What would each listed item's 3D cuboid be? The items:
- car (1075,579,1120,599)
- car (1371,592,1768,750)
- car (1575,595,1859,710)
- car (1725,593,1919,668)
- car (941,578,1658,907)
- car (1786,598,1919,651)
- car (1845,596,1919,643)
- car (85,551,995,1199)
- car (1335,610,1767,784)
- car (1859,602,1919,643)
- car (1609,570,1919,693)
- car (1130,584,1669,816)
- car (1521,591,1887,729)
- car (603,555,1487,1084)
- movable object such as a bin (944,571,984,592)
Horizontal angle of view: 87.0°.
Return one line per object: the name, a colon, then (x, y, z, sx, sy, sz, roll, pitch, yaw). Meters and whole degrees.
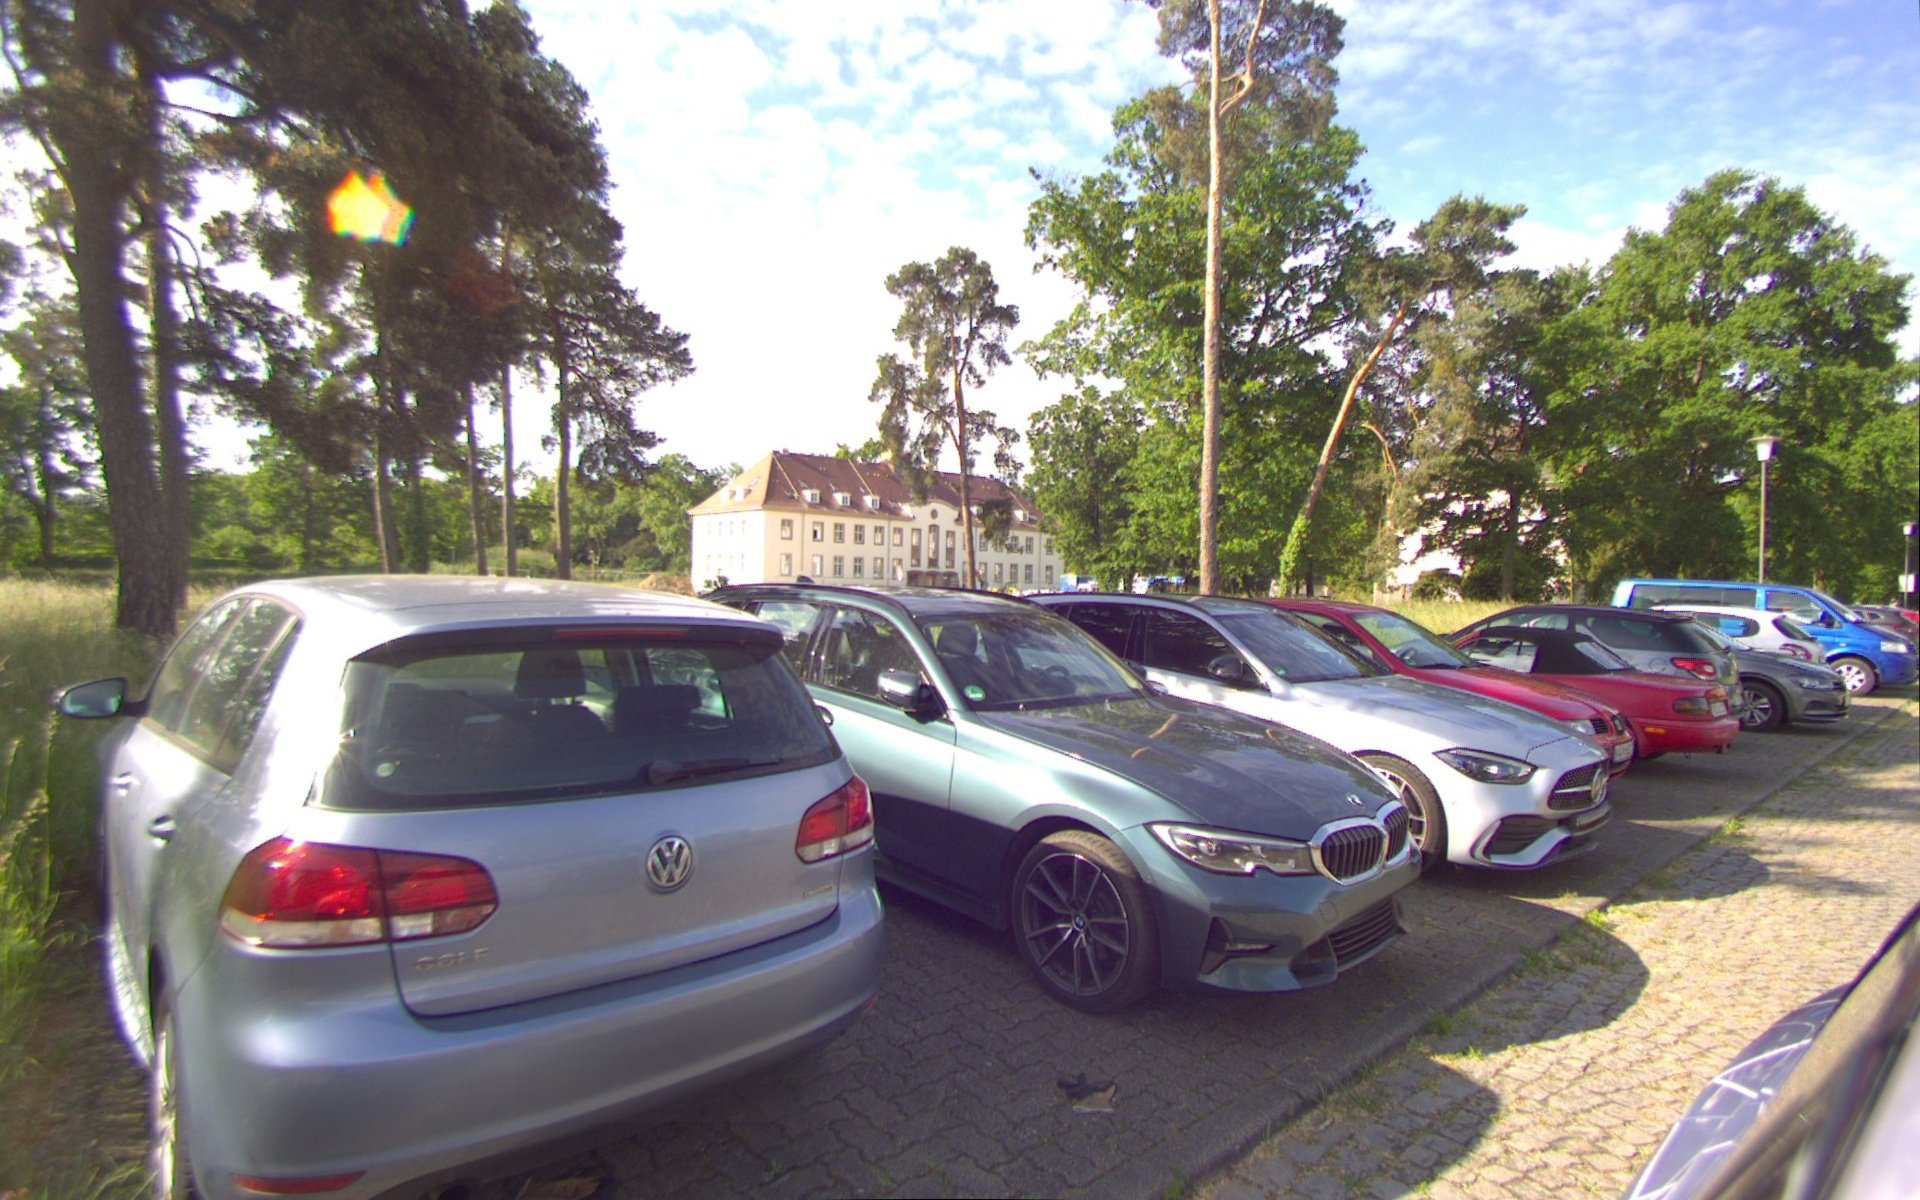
car: (14.243, -1.108, 104.687, 4.689, 2.039, 1.997, 0, 1, -41)
car: (7.101, 0.705, 12.073, 1.522, 1.509, 3.775, 0, 1, -42)
car: (11.565, 0.709, 15.617, 1.423, 1.509, 3.264, 0, 1, -39)
car: (21.813, 0.700, 25.283, 1.725, 1.660, 3.997, 0, 1, -38)
car: (2.004, 0.646, 7.077, 1.795, 1.419, 4.419, 0, 3, -42)
car: (29.160, 0.756, 32.350, 1.725, 1.537, 3.997, 0, 1, -38)
car: (36.777, 0.726, 38.845, 1.725, 1.763, 3.996, 0, -1, -38)
car: (-1.931, 0.593, 3.685, 1.839, 1.478, 4.022, 0, 2, -42)
car: (5.565, 0.794, 9.815, 1.395, 1.271, 3.353, 0, 1, -42)
car: (40.265, 0.925, 42.078, 1.724, 1.635, 3.997, -1, -1, -37)
car: (15.396, 0.484, 19.286, 1.964, 2.039, 4.725, 0, 1, -40)
car: (3.545, 0.641, 8.728, 1.632, 1.410, 3.914, 0, 2, -42)
car: (9.705, 0.678, 13.486, 1.478, 1.509, 3.629, 1, 1, -32)
car: (0.014, 0.588, 5.275, 1.796, 1.535, 4.498, 0, 2, -44)
movable object such as a bin: (0.505, -2.203, 121.995, 1.994, 2.352, 4.907, 2, 1, 44)
